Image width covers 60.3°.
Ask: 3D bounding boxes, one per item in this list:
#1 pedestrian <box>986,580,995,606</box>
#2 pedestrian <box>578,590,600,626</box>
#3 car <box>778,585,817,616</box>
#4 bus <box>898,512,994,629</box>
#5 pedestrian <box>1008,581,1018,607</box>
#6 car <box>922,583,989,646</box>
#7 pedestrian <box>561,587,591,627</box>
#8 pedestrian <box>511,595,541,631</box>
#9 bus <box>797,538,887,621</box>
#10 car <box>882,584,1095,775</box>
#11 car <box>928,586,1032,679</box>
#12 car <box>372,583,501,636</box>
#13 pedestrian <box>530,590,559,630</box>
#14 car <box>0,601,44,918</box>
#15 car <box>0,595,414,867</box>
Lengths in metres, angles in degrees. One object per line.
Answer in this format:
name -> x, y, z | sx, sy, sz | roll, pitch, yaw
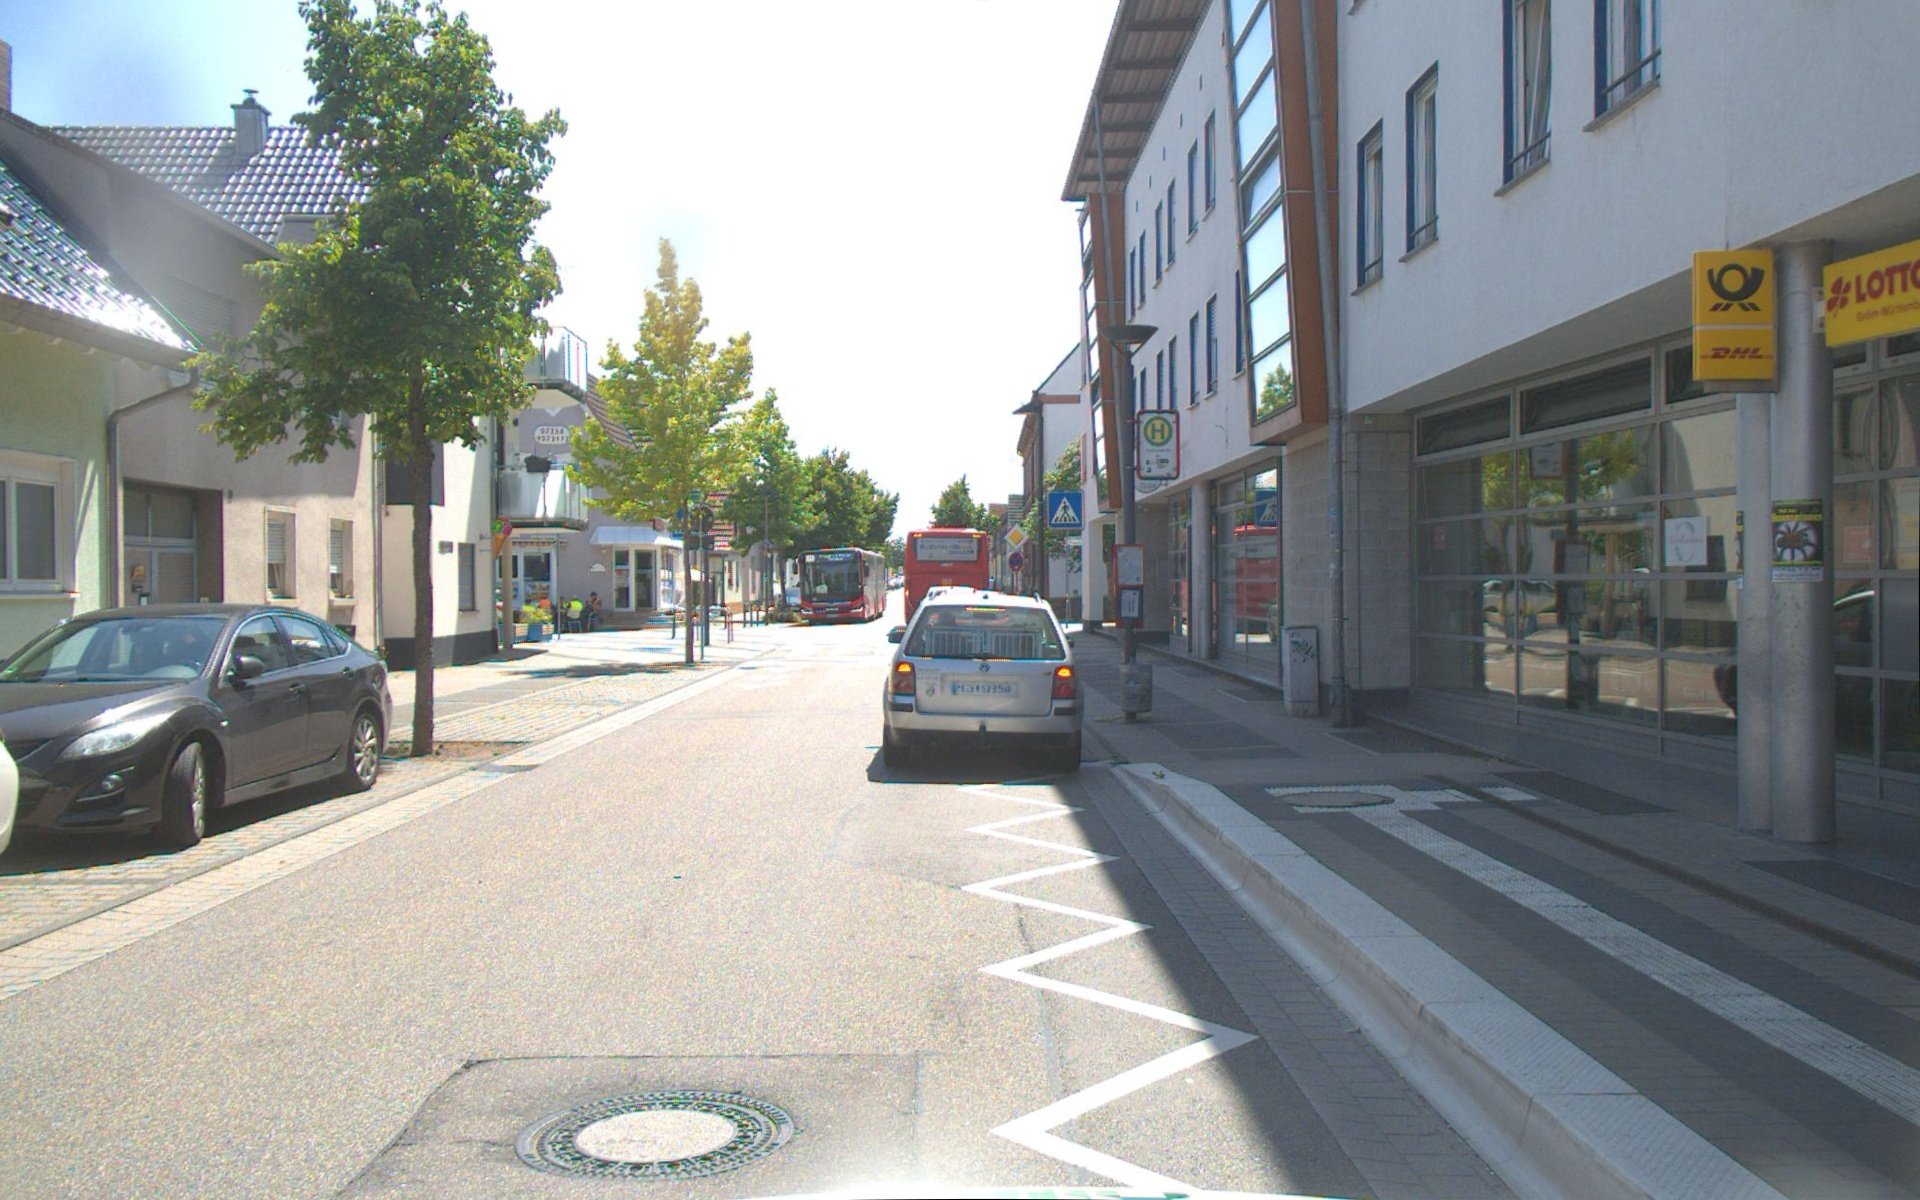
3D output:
pedestrian -> 2.055, -0.469, 111.791 | 0.594, 1.696, 0.789 | -1, 0, -3
pedestrian -> -12.677, 0.262, 56.535 | 0.610, 1.199, 0.696 | -1, 0, -5
car -> -7.851, 0.011, 80.150 | 1.572, 1.463, 4.064 | -1, 1, -1
bus -> -0.644, -0.873, 53.772 | 2.685, 3.356, 12.699 | 0, 0, -2
pedestrian -> 3.473, -0.400, 108.587 | 0.594, 1.696, 0.789 | -1, 0, -3
car -> -0.107, 0.327, 40.745 | 1.561, 1.455, 3.679 | 1, 1, 0
pedestrian -> -12.830, 0.233, 55.221 | 0.631, 1.311, 0.776 | 2, 0, -44
pedestrian -> -14.294, 0.423, 54.499 | 0.631, 1.135, 0.776 | 2, 0, -44
bus -> -4.951, -0.897, 72.890 | 2.614, 3.178, 17.807 | -1, 1, 0
car -> 0.192, 0.614, 14.904 | 1.643, 1.455, 3.679 | 2, 0, -1
car -> 0.287, 0.497, 28.157 | 1.643, 1.455, 3.679 | 1, 1, -1
car -> -16.737, 0.287, 52.951 | 3.855, 1.572, 1.511 | -1, 2, -18
pedestrian -> -13.911, 0.325, 55.368 | 0.631, 1.311, 0.776 | 2, 0, -44
car -> -5.265, 0.756, 5.754 | 1.685, 1.462, 4.459 | 0, 1, 0
car -> -5.334, 0.723, 11.403 | 1.626, 1.462, 4.538 | -1, 1, 0
